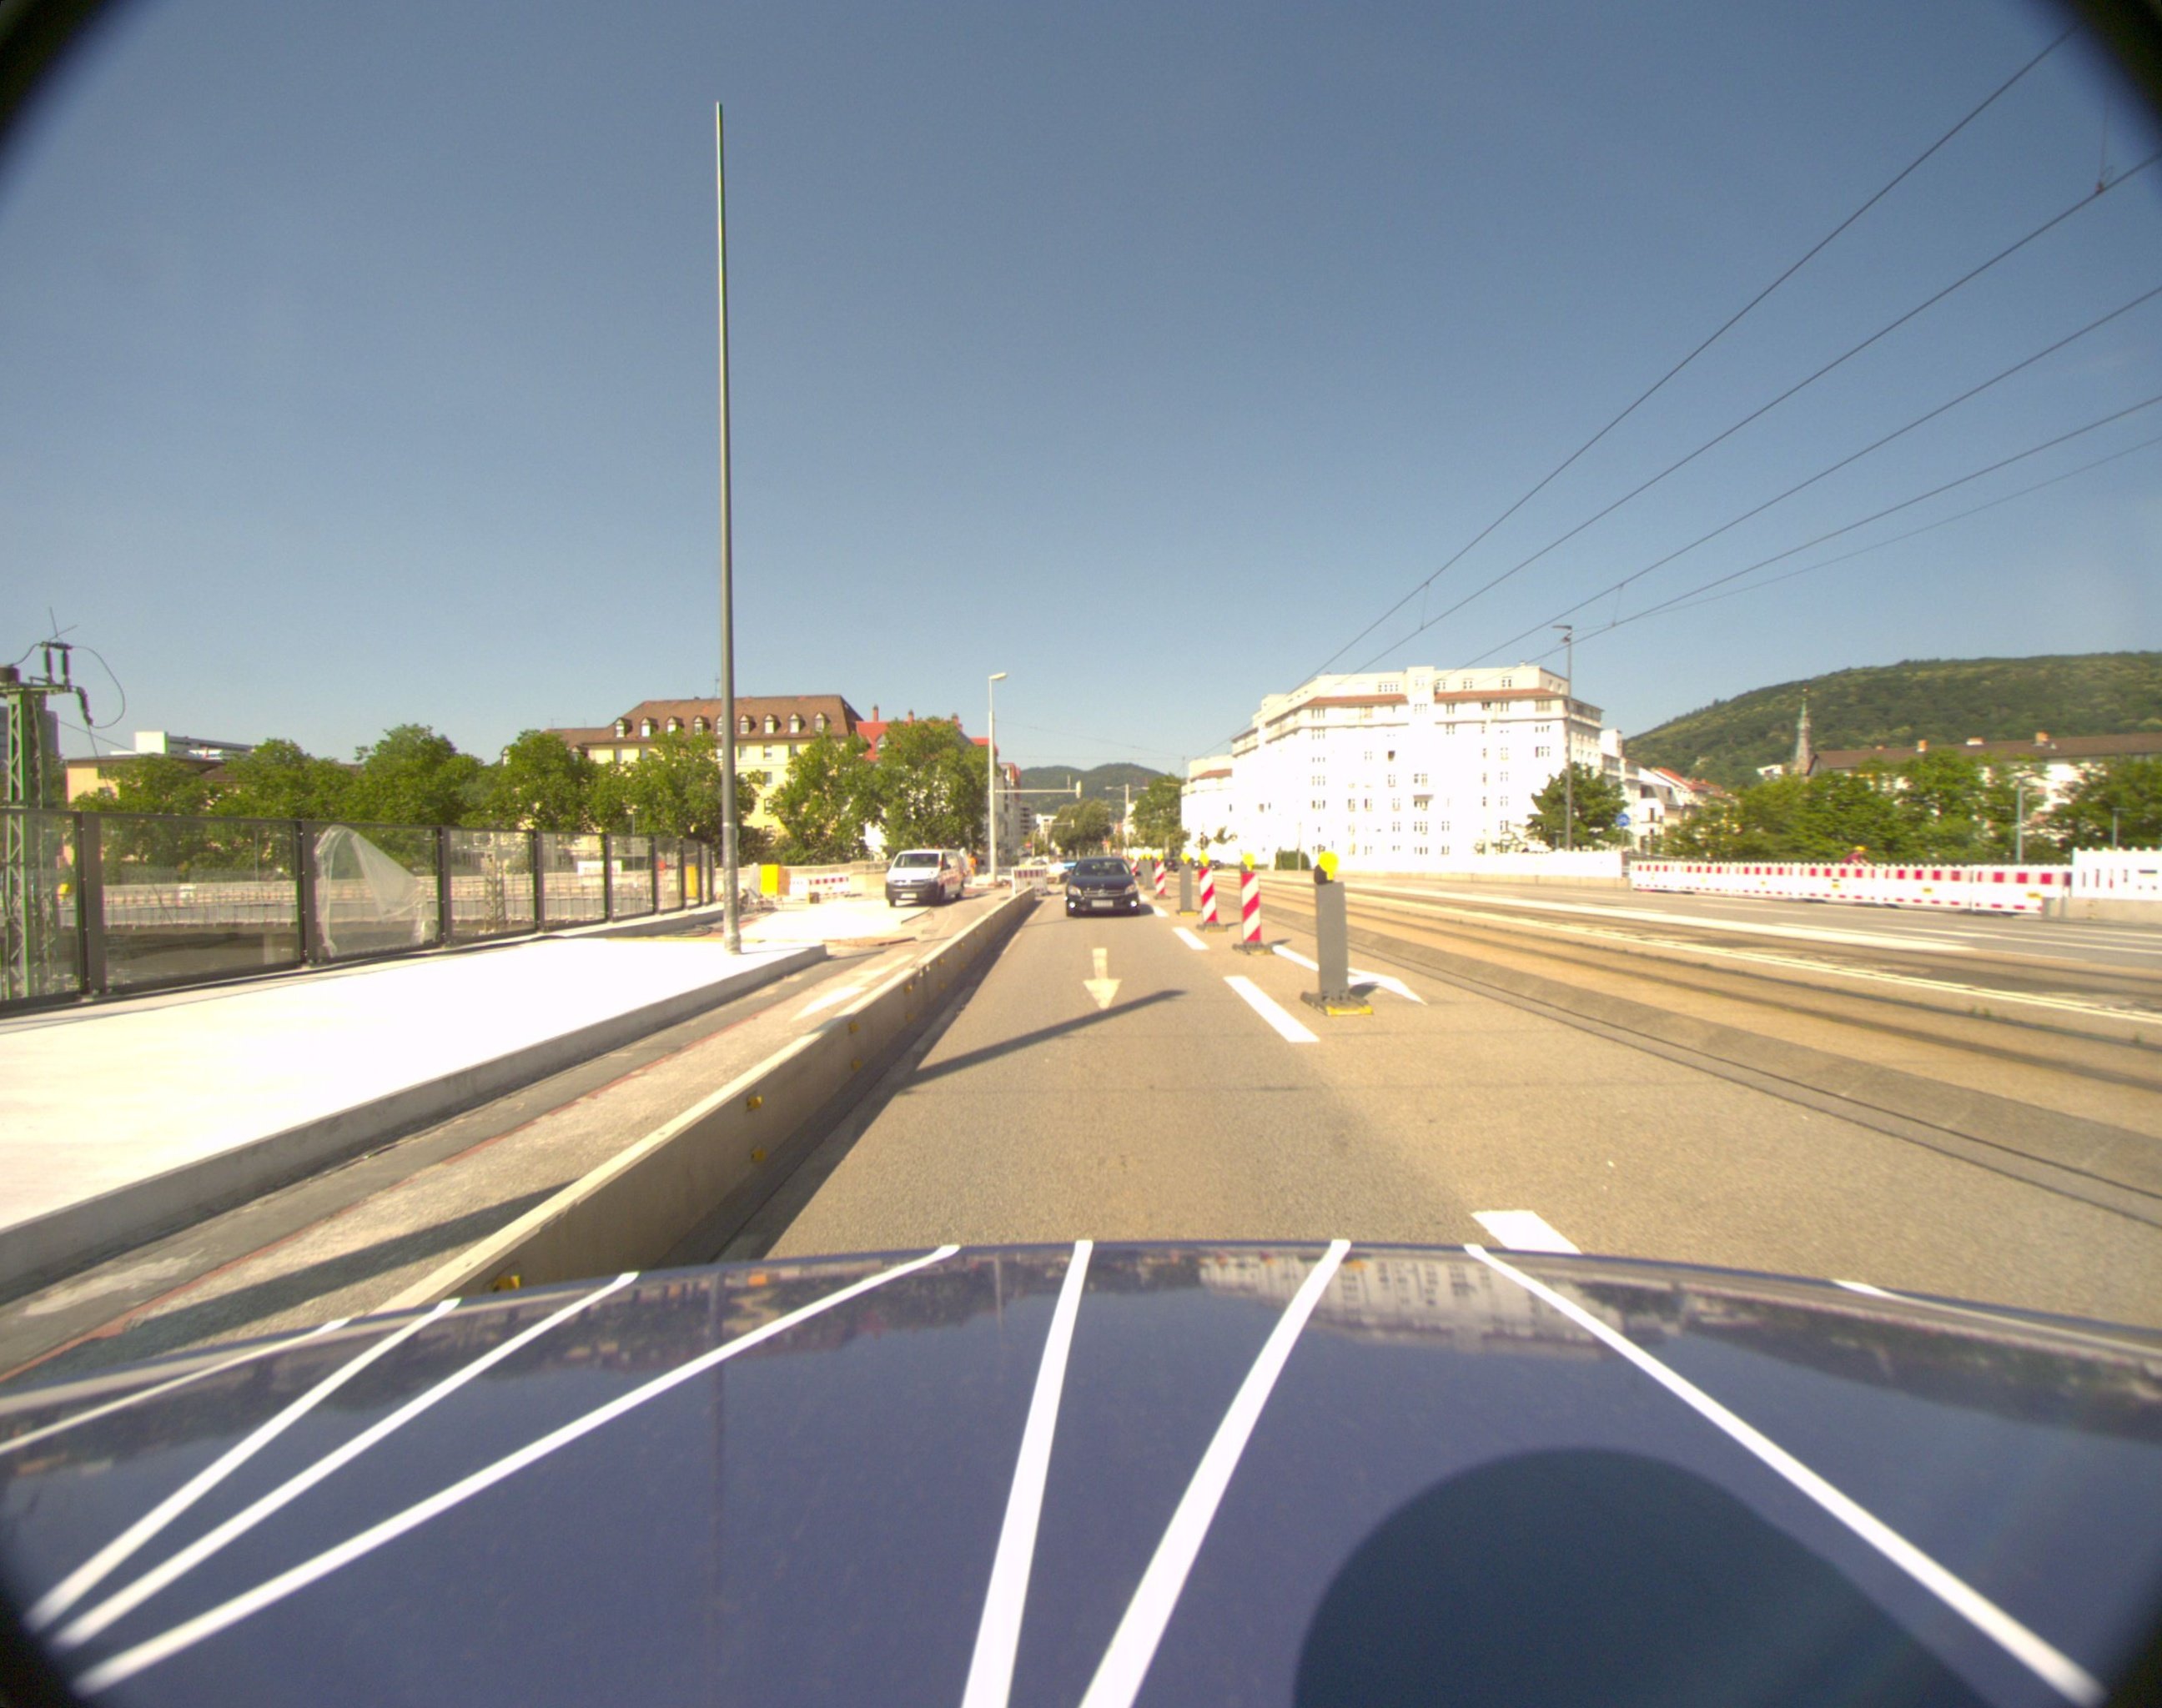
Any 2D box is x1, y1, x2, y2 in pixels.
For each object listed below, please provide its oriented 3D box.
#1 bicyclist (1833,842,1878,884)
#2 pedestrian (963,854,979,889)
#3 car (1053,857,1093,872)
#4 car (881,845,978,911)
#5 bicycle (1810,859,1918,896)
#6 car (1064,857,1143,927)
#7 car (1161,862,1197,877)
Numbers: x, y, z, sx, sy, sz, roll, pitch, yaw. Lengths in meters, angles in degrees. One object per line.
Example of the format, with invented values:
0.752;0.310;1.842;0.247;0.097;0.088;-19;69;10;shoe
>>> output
28.782;0.336;28.247;0.858;1.510;0.817;-2;1;0;bicyclist
-6.350;1.007;43.889;0.761;1.973;0.843;1;2;1;pedestrian
-0.855;1.145;83.130;3.994;1.477;2.042;-2;0;10;car
-5.403;0.742;28.202;1.937;2.078;6.470;-1;1;3;car
28.802;0.842;28.062;0.858;1.188;3.072;-2;1;1;bicycle
0.532;0.850;19.035;1.698;1.388;4.362;-2;1;1;car
10.002;1.569;77.717;1.805;1.477;3.992;-1;0;-25;car
